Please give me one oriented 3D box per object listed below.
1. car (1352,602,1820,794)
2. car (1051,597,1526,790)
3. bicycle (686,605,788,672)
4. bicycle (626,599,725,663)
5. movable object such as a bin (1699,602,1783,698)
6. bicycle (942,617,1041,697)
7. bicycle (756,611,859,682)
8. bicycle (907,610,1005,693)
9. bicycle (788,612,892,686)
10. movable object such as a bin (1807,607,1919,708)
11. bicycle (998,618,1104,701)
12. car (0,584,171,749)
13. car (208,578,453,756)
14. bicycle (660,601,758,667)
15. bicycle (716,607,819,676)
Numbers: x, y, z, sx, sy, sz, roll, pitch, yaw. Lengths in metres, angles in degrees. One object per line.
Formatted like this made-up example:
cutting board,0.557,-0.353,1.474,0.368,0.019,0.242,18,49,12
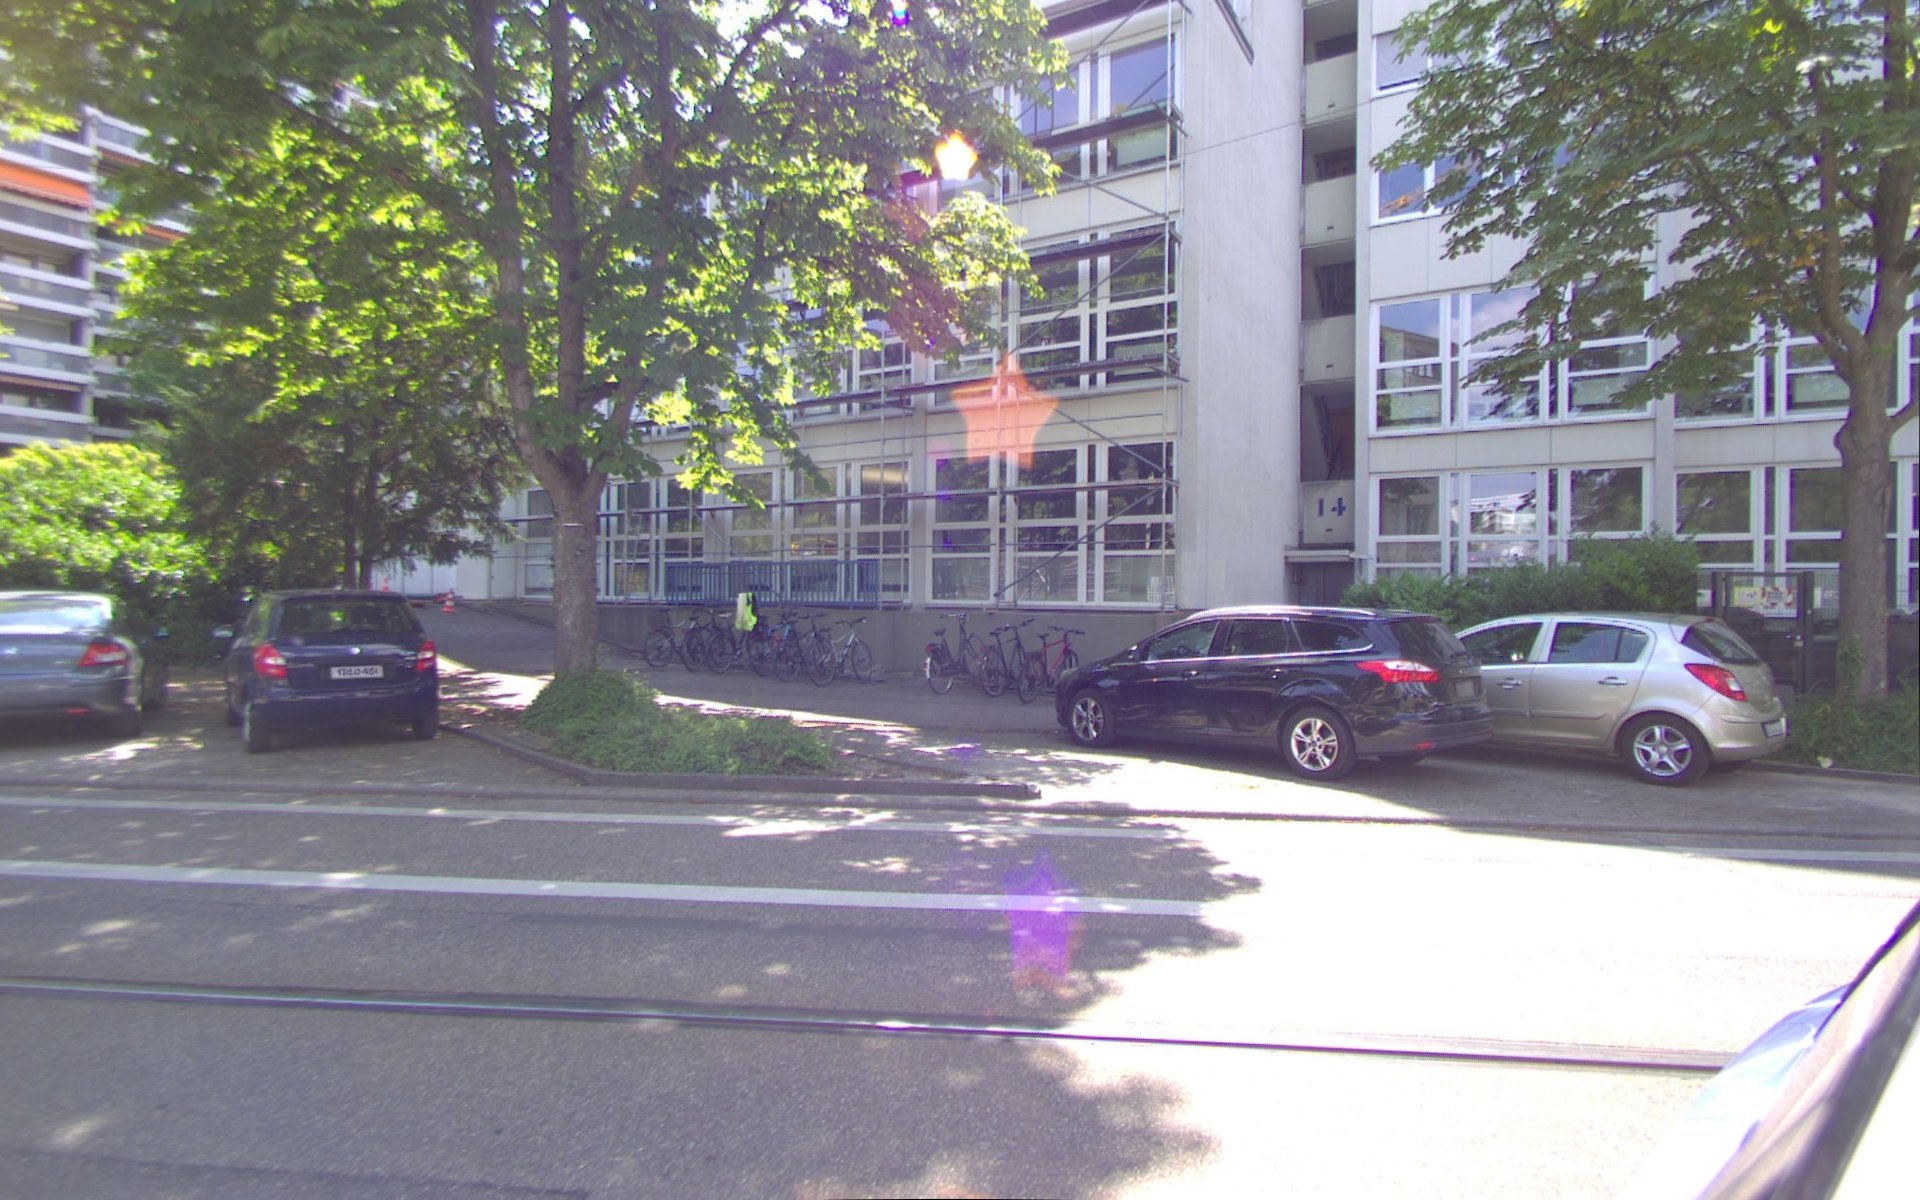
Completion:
car,5.905,0.775,9.827,1.724,1.481,3.534,1,0,-41
car,3.010,0.724,9.995,1.724,1.488,4.190,1,0,-41
bicycle,-3.990,0.666,18.229,0.565,1.145,1.903,0,-1,36
bicycle,-5.306,0.553,19.018,0.564,1.145,1.905,0,0,32
movable object such as a bin,11.986,0.746,15.555,0.793,1.423,0.762,0,-1,19
bicycle,0.518,0.853,15.758,0.565,1.145,1.919,0,-1,36
bicycle,-2.562,0.757,17.262,0.565,1.145,1.919,0,-1,36
bicycle,-0.032,0.784,16.185,0.565,1.253,1.919,0,-1,36
bicycle,-1.959,0.775,16.756,0.565,1.145,1.919,0,0,36
movable object such as a bin,13.007,0.772,14.101,1.427,1.347,1.124,0,-1,6
bicycle,1.424,0.868,15.426,0.565,1.145,2.206,0,0,35
car,-9.657,0.586,10.763,1.785,1.481,4.022,1,0,-35
car,-6.712,0.581,10.637,1.621,1.536,3.570,1,0,-41
bicycle,-4.605,0.603,18.690,0.564,1.145,1.905,0,0,32
bicycle,-3.364,0.701,17.828,0.565,1.145,1.919,0,-1,36
